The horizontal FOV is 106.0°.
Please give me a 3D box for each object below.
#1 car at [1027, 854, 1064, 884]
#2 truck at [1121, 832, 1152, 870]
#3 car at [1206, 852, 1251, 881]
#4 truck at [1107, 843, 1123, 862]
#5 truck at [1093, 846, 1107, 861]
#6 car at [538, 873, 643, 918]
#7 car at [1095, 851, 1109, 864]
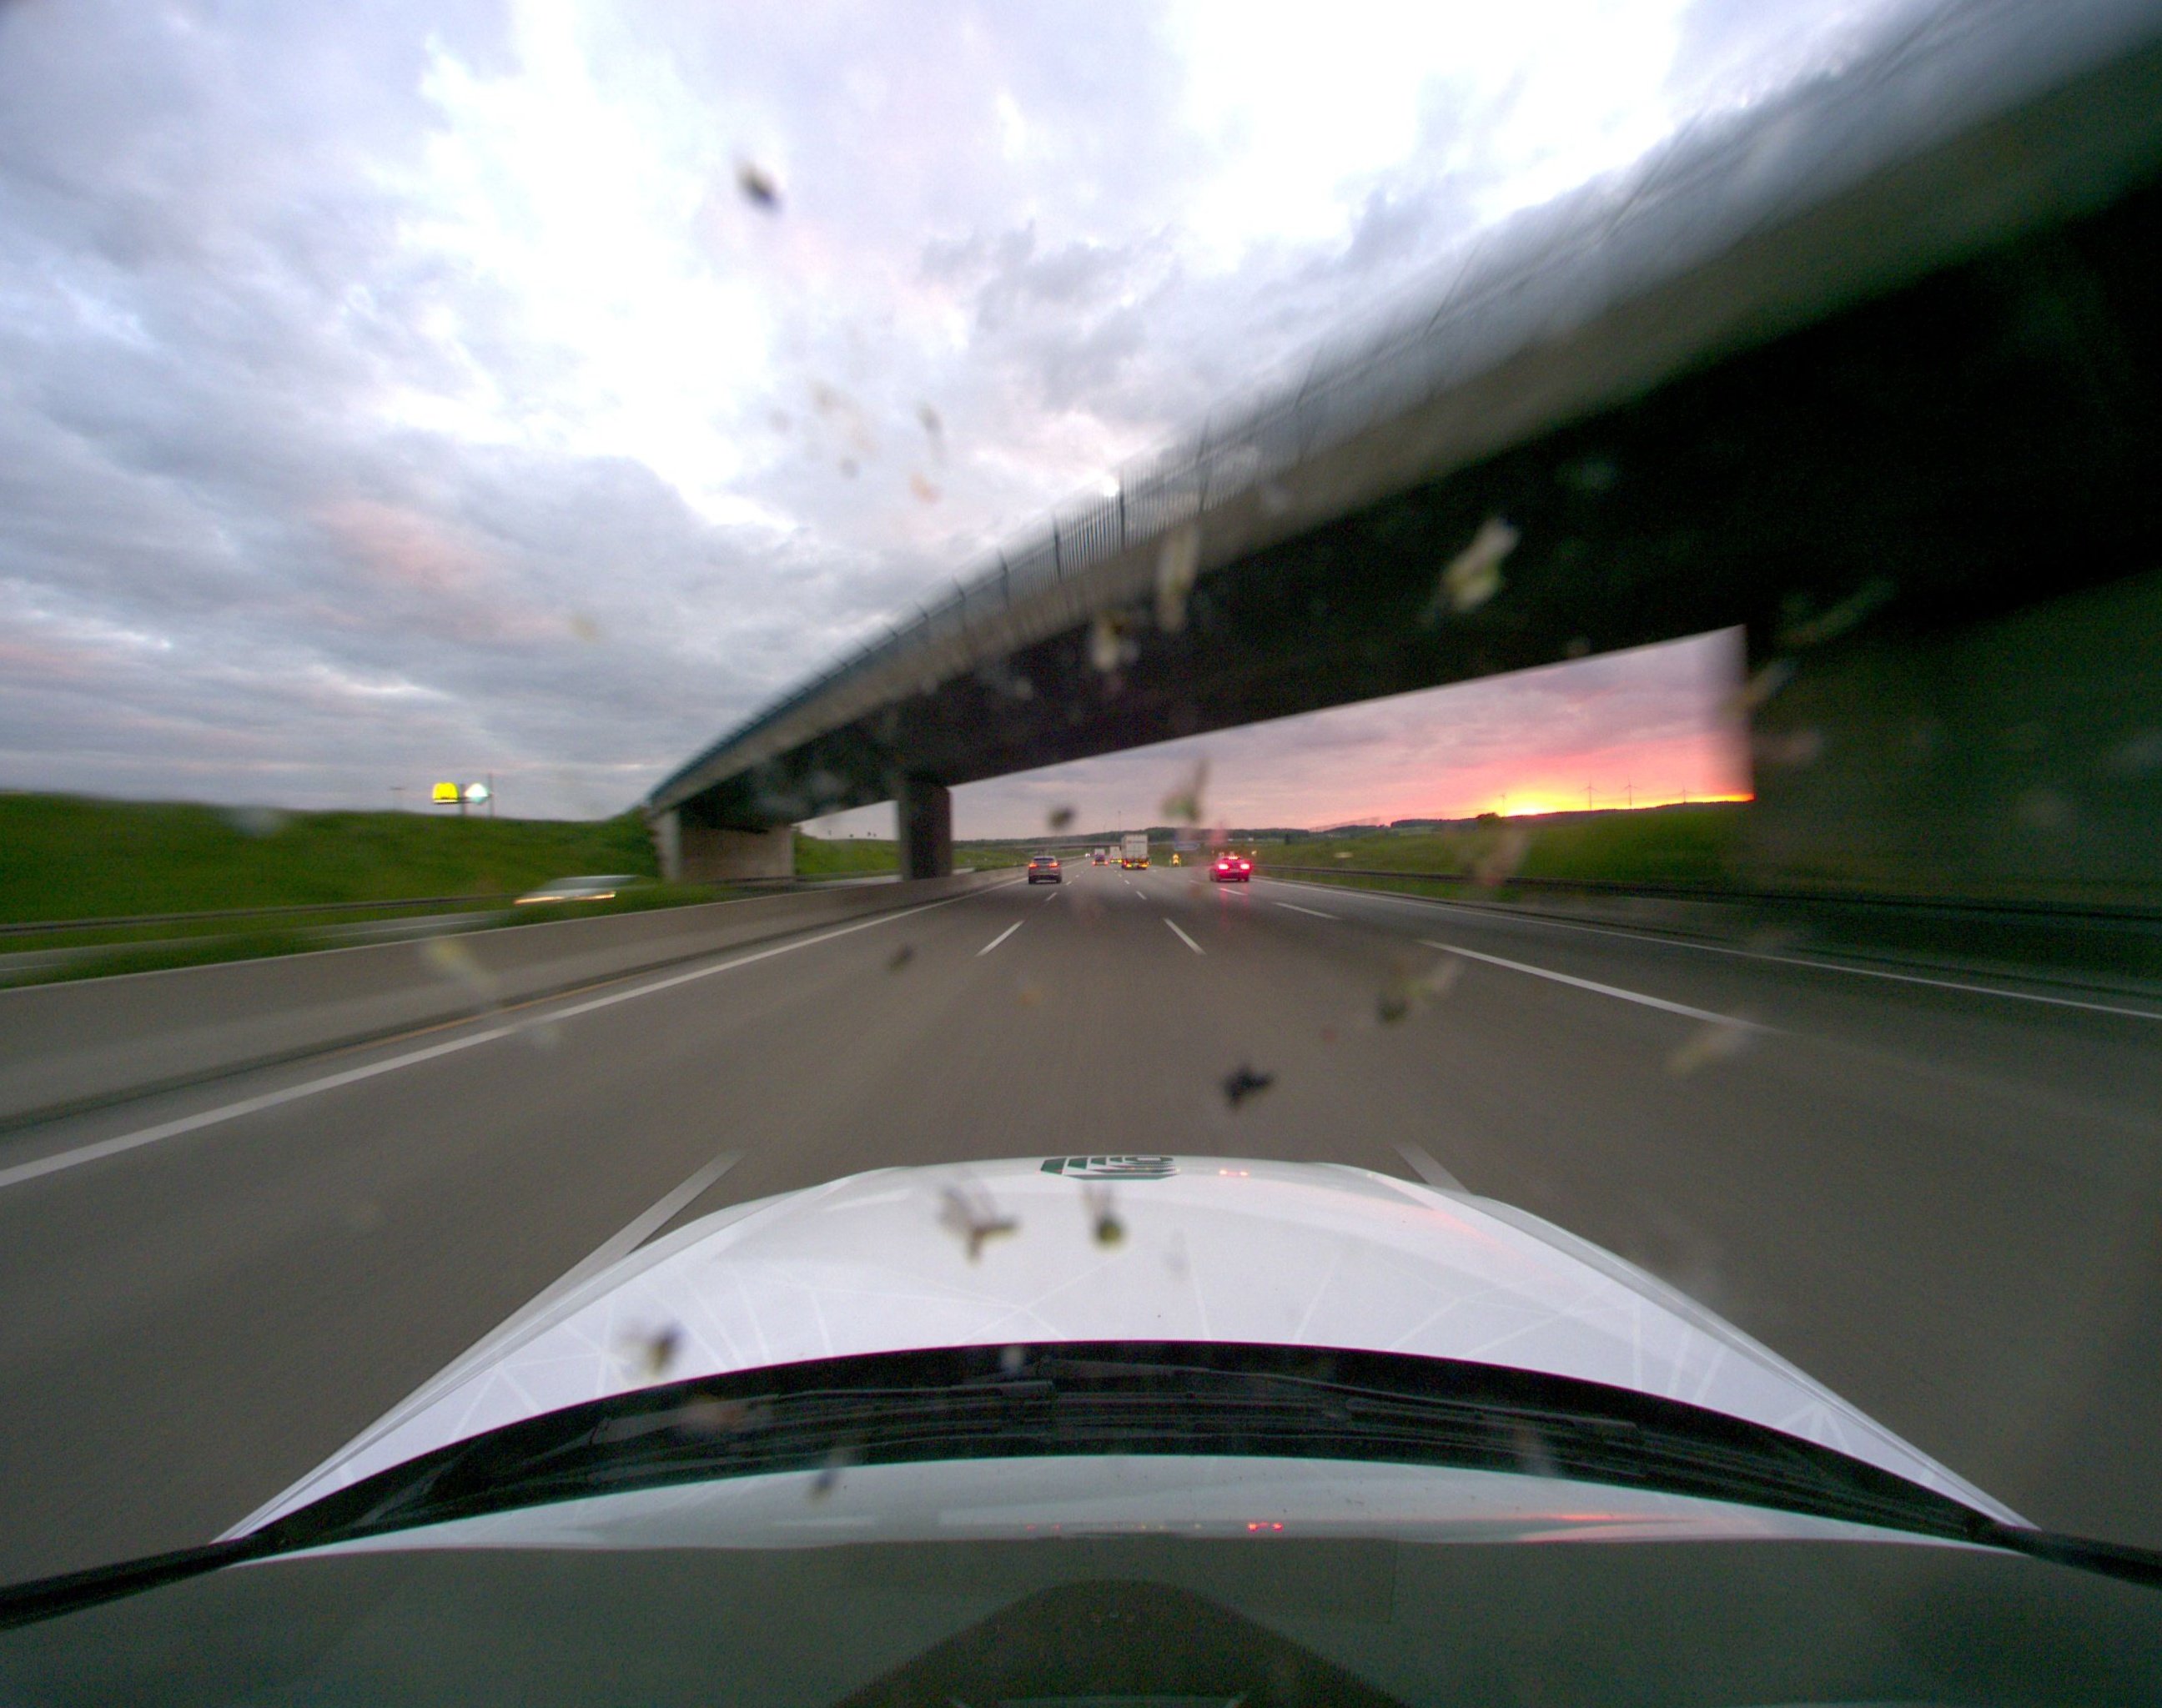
[{"bbox_3d":[-2.089,0.841,49.663,1.846,1.692,5.513,-1,0,1],"label":"car"},{"bbox_3d":[6.420,-0.344,95.646,3.221,4.227,9.603,0,0,2],"label":"truck"},{"bbox_3d":[8.373,0.690,46.538,1.911,1.579,4.000,-1,0,1],"label":"car"},{"bbox_3d":[8.102,-0.371,194.487,3.513,4.345,8.407,0,0,1],"label":"truck"},{"bbox_3d":[3.937,-0.126,169.925,2.941,3.217,8.407,0,0,1],"label":"truck"},{"bbox_3d":[-18.225,1.504,30.462,1.558,1.471,3.935,-2,0,-1],"label":"car"},{"bbox_3d":[3.905,0.675,153.927,2.508,2.391,6.496,-2,0,1],"label":"car"}]
